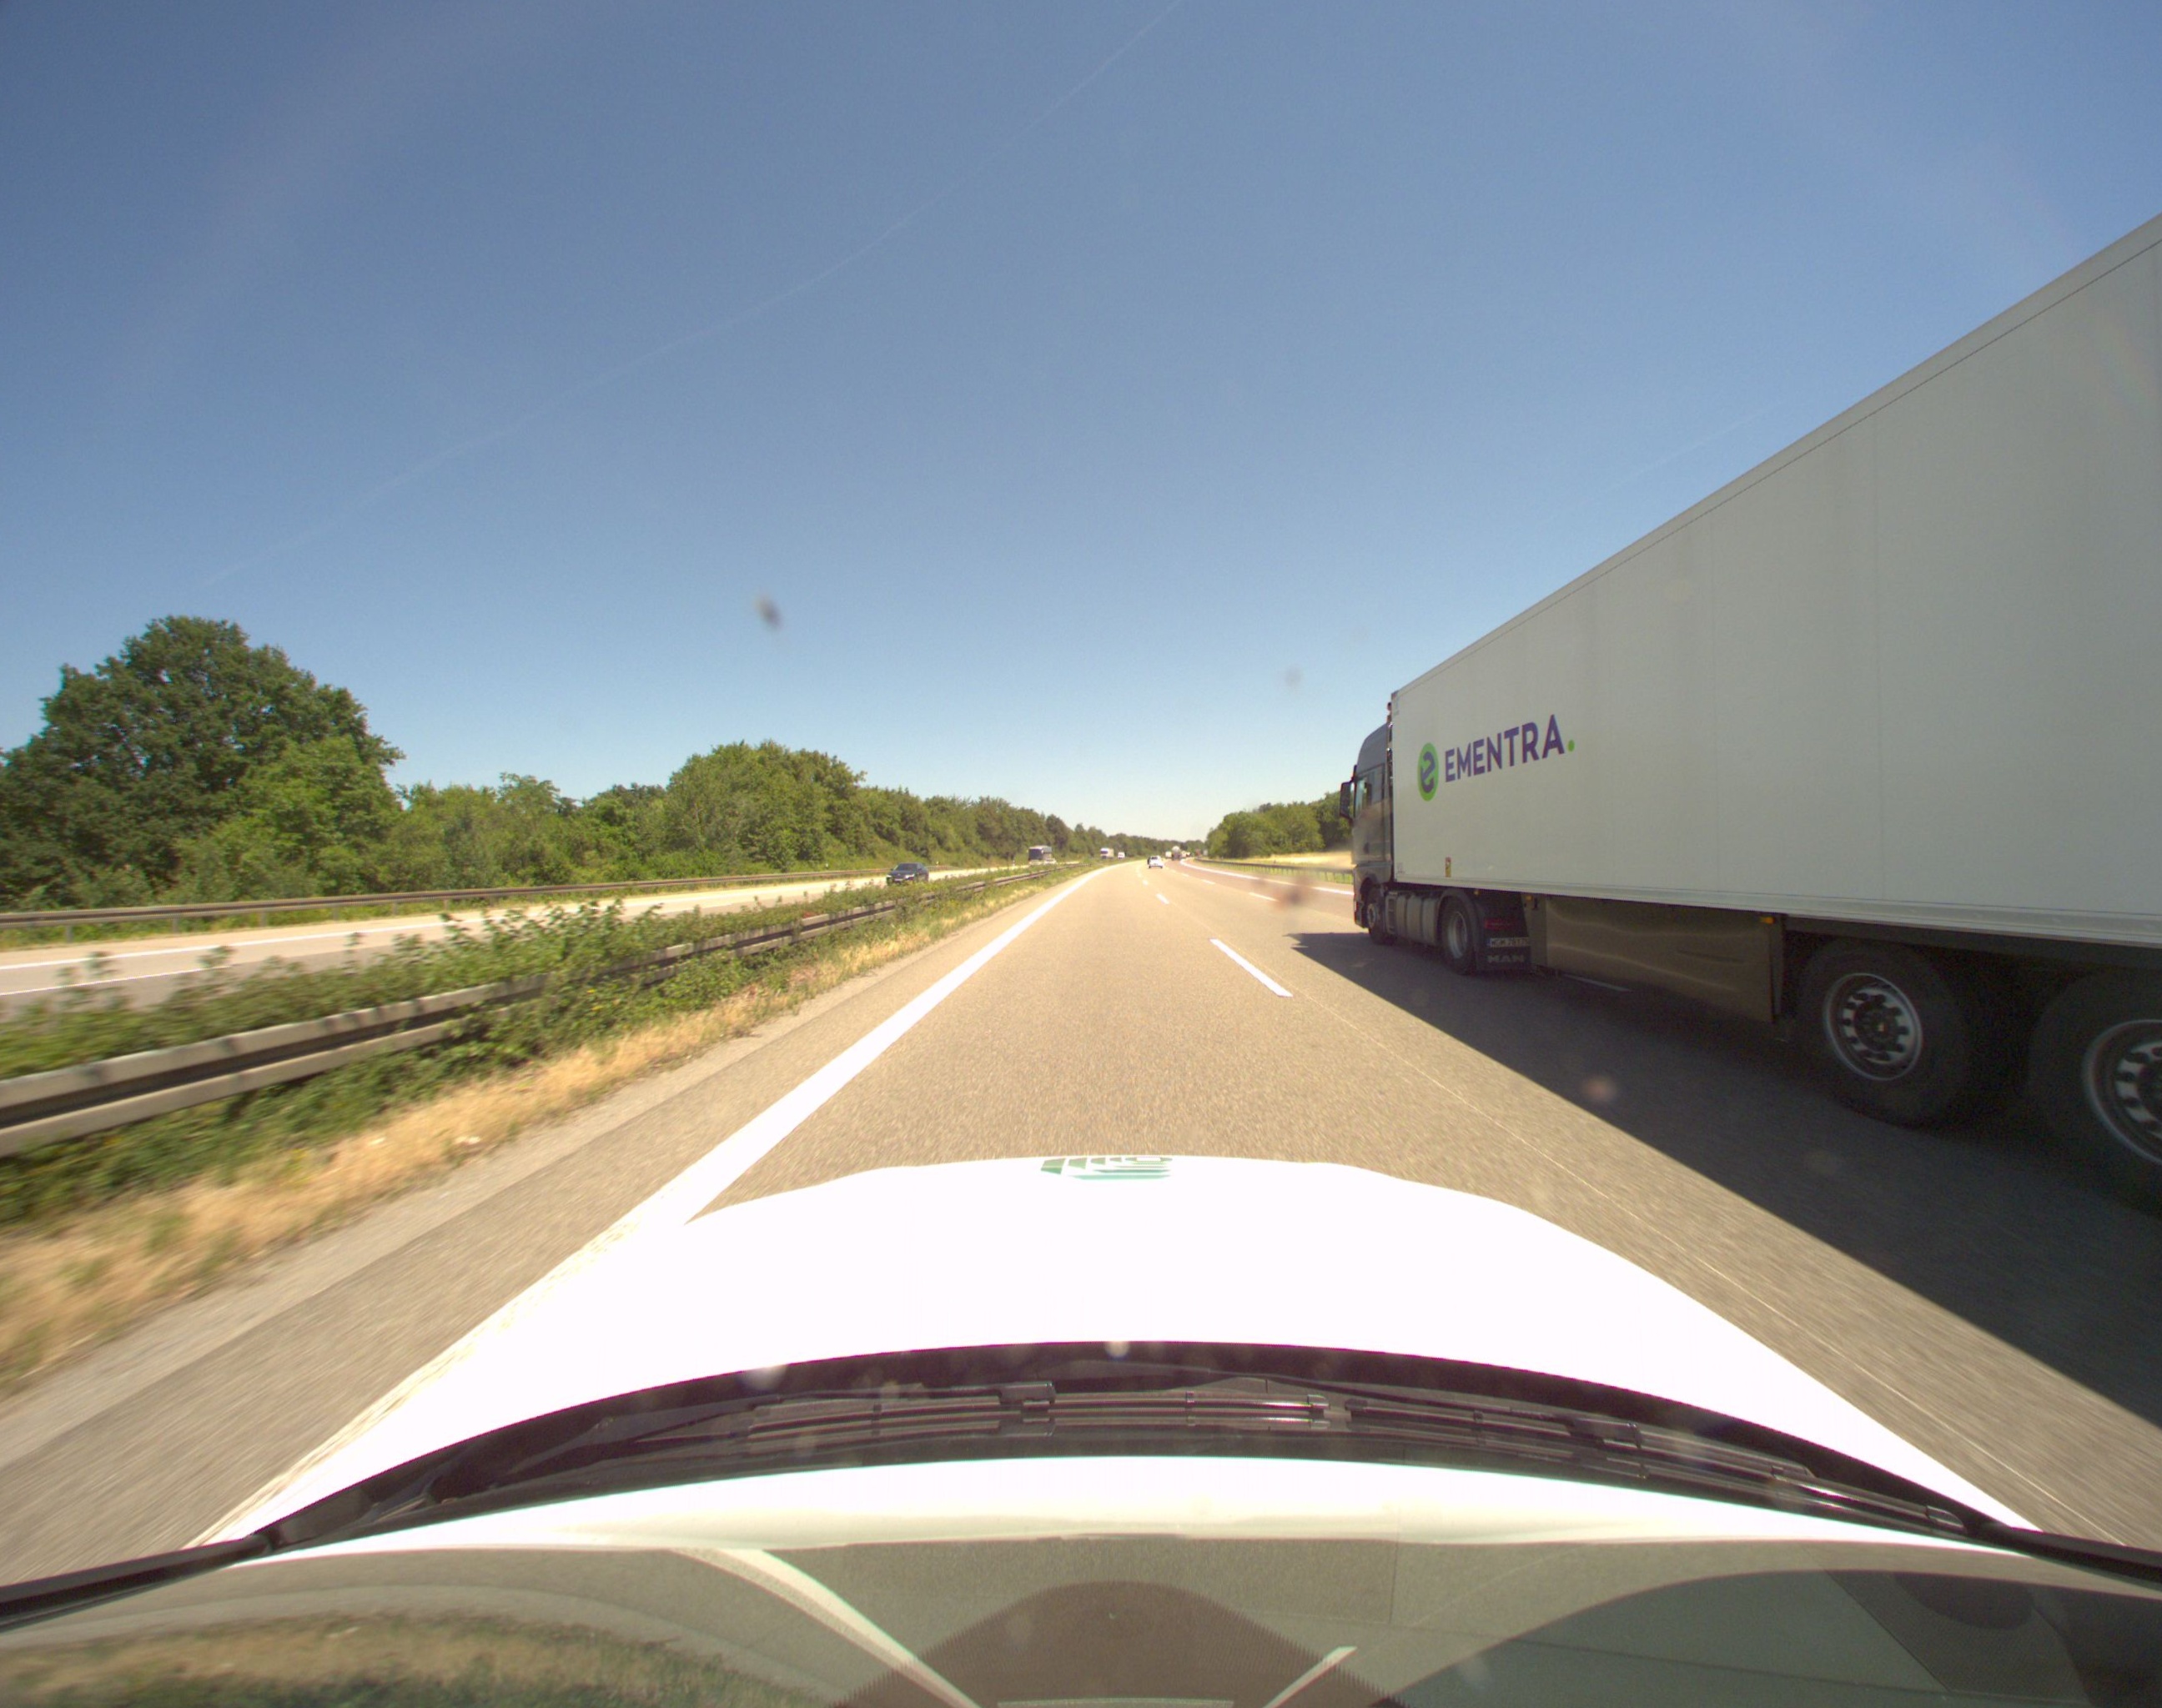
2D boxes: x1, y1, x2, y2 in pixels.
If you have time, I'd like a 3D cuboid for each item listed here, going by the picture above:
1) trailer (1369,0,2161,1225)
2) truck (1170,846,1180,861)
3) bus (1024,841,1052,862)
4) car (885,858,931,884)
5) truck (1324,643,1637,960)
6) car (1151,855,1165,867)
[{"bbox_3d":[5.717,-0.925,6.090,2.888,4.657,13.998,-1,0,3],"label":"trailer"},{"bbox_3d":[26.569,-0.154,230.542,2.725,4.052,10.472,-1,-1,6],"label":"truck"},{"bbox_3d":[-7.703,-0.414,148.763,2.726,3.707,13.026,-1,0,7],"label":"bus"},{"bbox_3d":[-10.890,1.054,51.496,1.775,1.517,4.503,-1,0,2],"label":"car"},{"bbox_3d":[6.142,-0.700,13.521,2.896,4.256,4.978,-1,0,2],"label":"truck"},{"bbox_3d":[9.656,0.845,102.525,1.620,1.479,4.005,-1,-1,4],"label":"car"}]
